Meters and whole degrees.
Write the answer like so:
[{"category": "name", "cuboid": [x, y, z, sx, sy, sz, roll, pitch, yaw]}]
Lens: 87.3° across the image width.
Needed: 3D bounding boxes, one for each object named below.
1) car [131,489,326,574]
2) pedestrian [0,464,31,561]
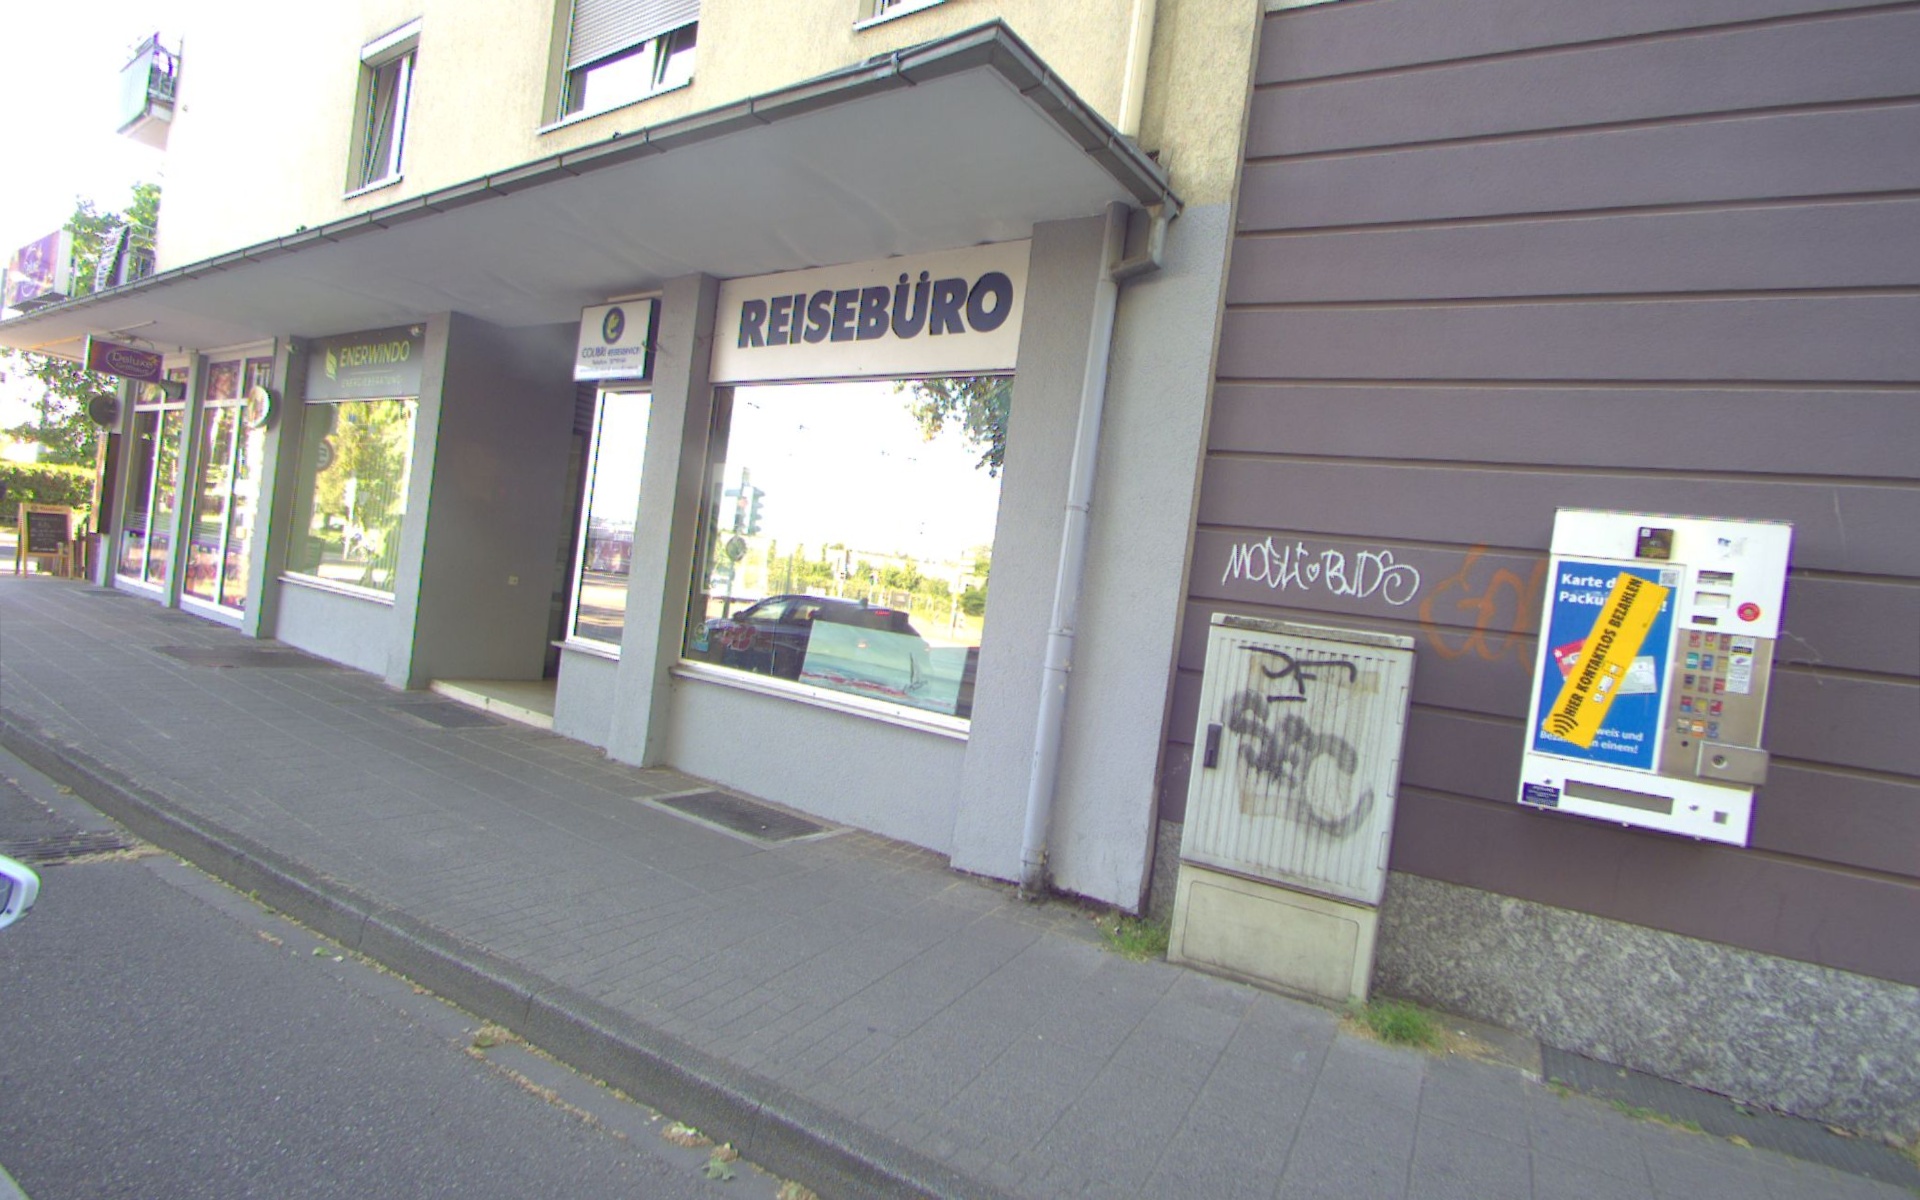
[{"category": "car", "cuboid": [-21.067, -1.907, 29.114, 1.781, 1.835, 4.172, 4, -3, 40]}, {"category": "pedestrian", "cuboid": [-18.904, -1.739, 19.683, 0.695, 1.869, 0.698, 7, 1, -19]}]
